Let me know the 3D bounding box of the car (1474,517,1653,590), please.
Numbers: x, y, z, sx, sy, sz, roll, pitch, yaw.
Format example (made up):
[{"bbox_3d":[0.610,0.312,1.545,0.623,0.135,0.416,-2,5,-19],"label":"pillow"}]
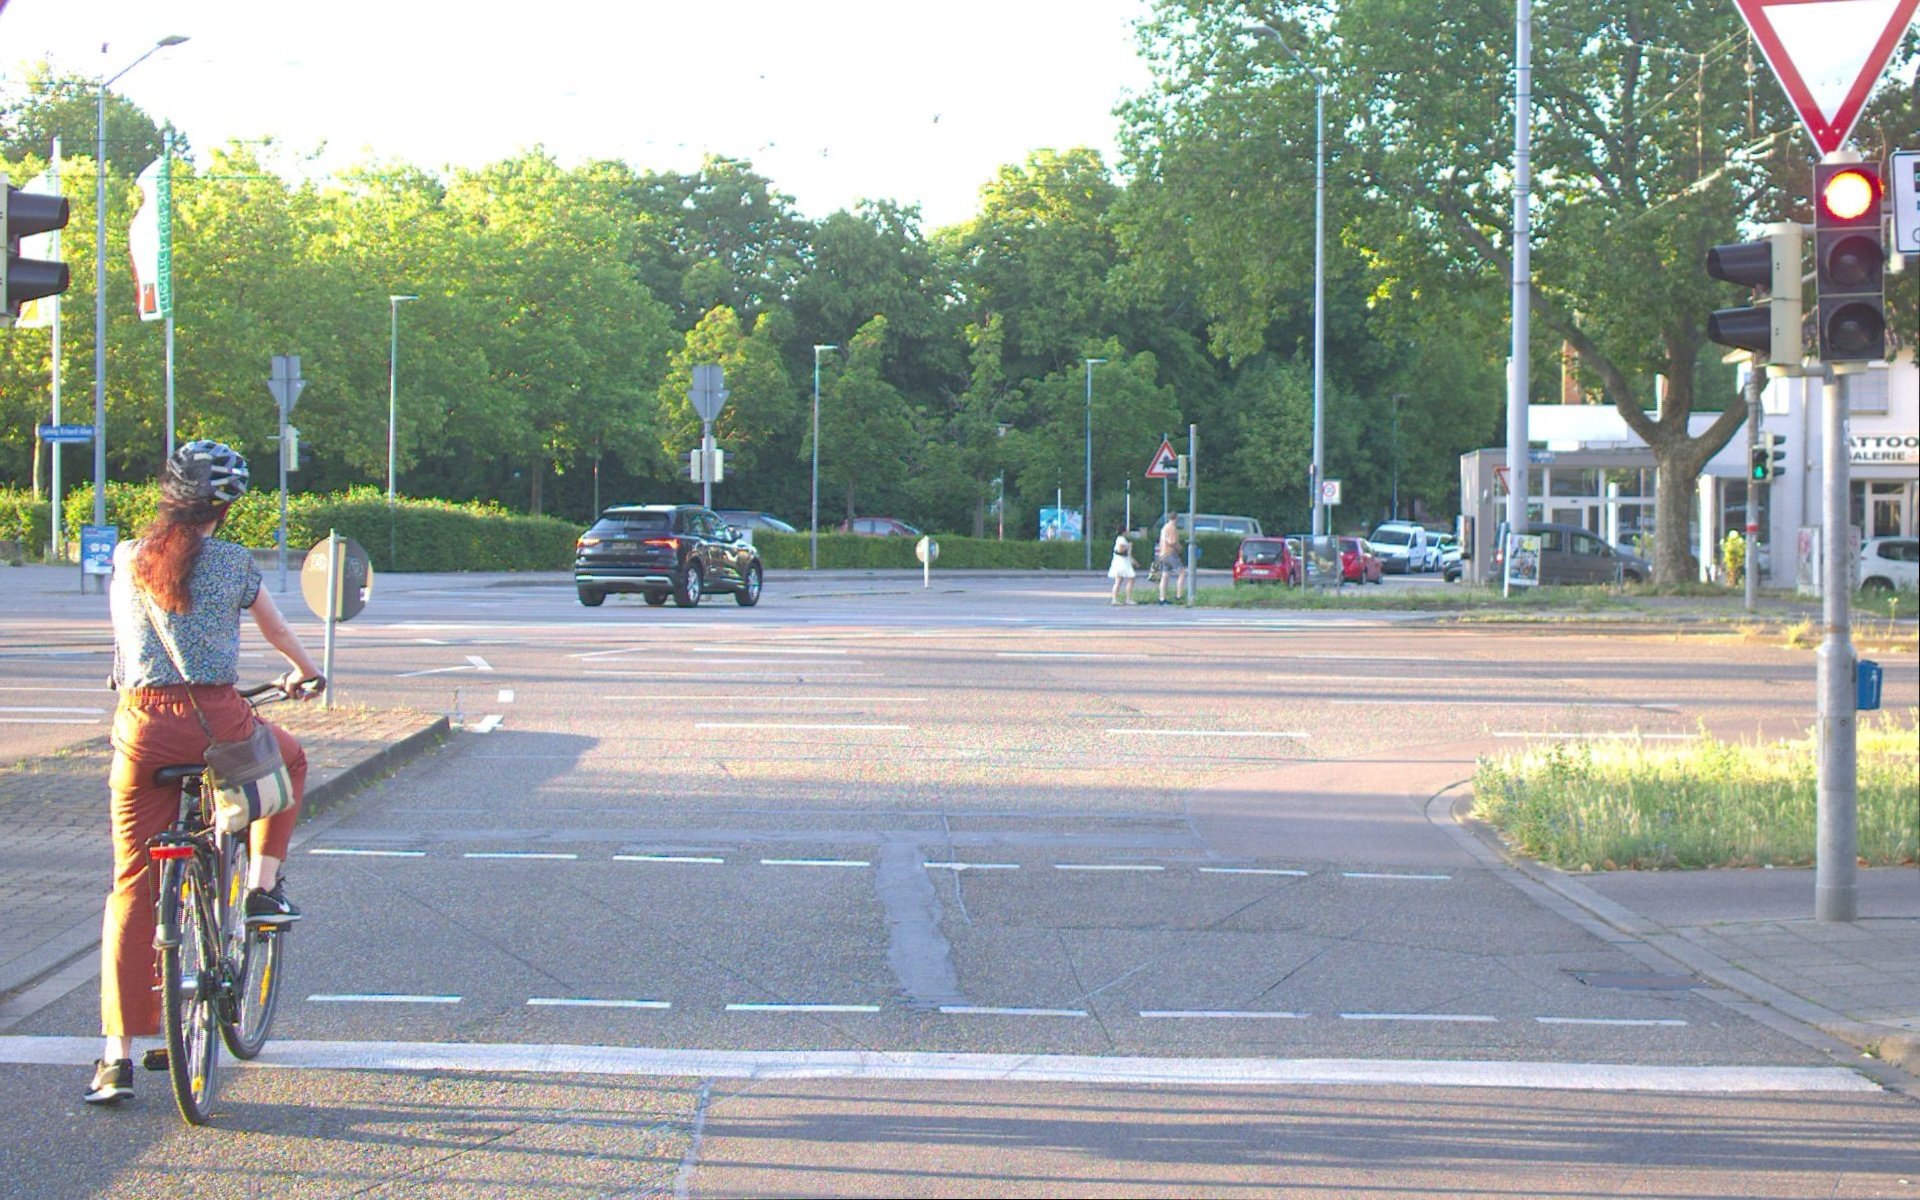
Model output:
[{"bbox_3d":[15.577,-1.222,88.964,4.378,1.828,1.949,1,1,5],"label":"car"}]

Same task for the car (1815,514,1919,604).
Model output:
[{"bbox_3d":[20.393,-0.862,72.476,4.230,1.840,2.000,1,1,2],"label":"car"}]

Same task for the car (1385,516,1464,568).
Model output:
[{"bbox_3d":[18.379,-2.317,135.808,1.996,2.007,3.995,1,2,24],"label":"car"}]

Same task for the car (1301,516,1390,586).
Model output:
[{"bbox_3d":[11.601,-1.485,103.314,1.916,2.040,3.997,1,2,17],"label":"car"}]

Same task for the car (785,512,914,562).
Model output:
[{"bbox_3d":[-3.495,-2.016,109.509,3.987,1.555,2.000,1,1,1],"label":"car"}]

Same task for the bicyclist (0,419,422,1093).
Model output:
[{"bbox_3d":[-2.045,0.387,9.266,1.031,1.712,0.996,1,1,-1],"label":"bicyclist"}]

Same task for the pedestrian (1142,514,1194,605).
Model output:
[{"bbox_3d":[4.058,-0.801,67.019,0.719,1.748,0.896,1,1,24],"label":"pedestrian"}]

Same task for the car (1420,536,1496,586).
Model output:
[{"bbox_3d":[16.735,-1.312,115.405,1.916,1.597,3.997,1,2,17],"label":"car"}]

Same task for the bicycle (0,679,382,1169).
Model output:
[{"bbox_3d":[-2.046,0.799,9.260,0.634,1.064,2.122,1,1,-1],"label":"bicycle"}]

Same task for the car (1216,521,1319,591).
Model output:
[{"bbox_3d":[8.587,-1.239,95.701,1.870,1.868,3.870,1,2,21],"label":"car"}]

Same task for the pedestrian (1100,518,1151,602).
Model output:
[{"bbox_3d":[3.265,-0.795,67.928,0.719,1.633,0.896,1,1,24],"label":"pedestrian"}]

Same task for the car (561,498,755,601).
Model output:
[{"bbox_3d":[-4.701,-0.765,54.112,1.756,1.535,4.398,1,0,13],"label":"car"}]

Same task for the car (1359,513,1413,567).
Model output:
[{"bbox_3d":[16.227,-2.299,131.173,1.994,2.007,3.999,1,1,7],"label":"car"}]
